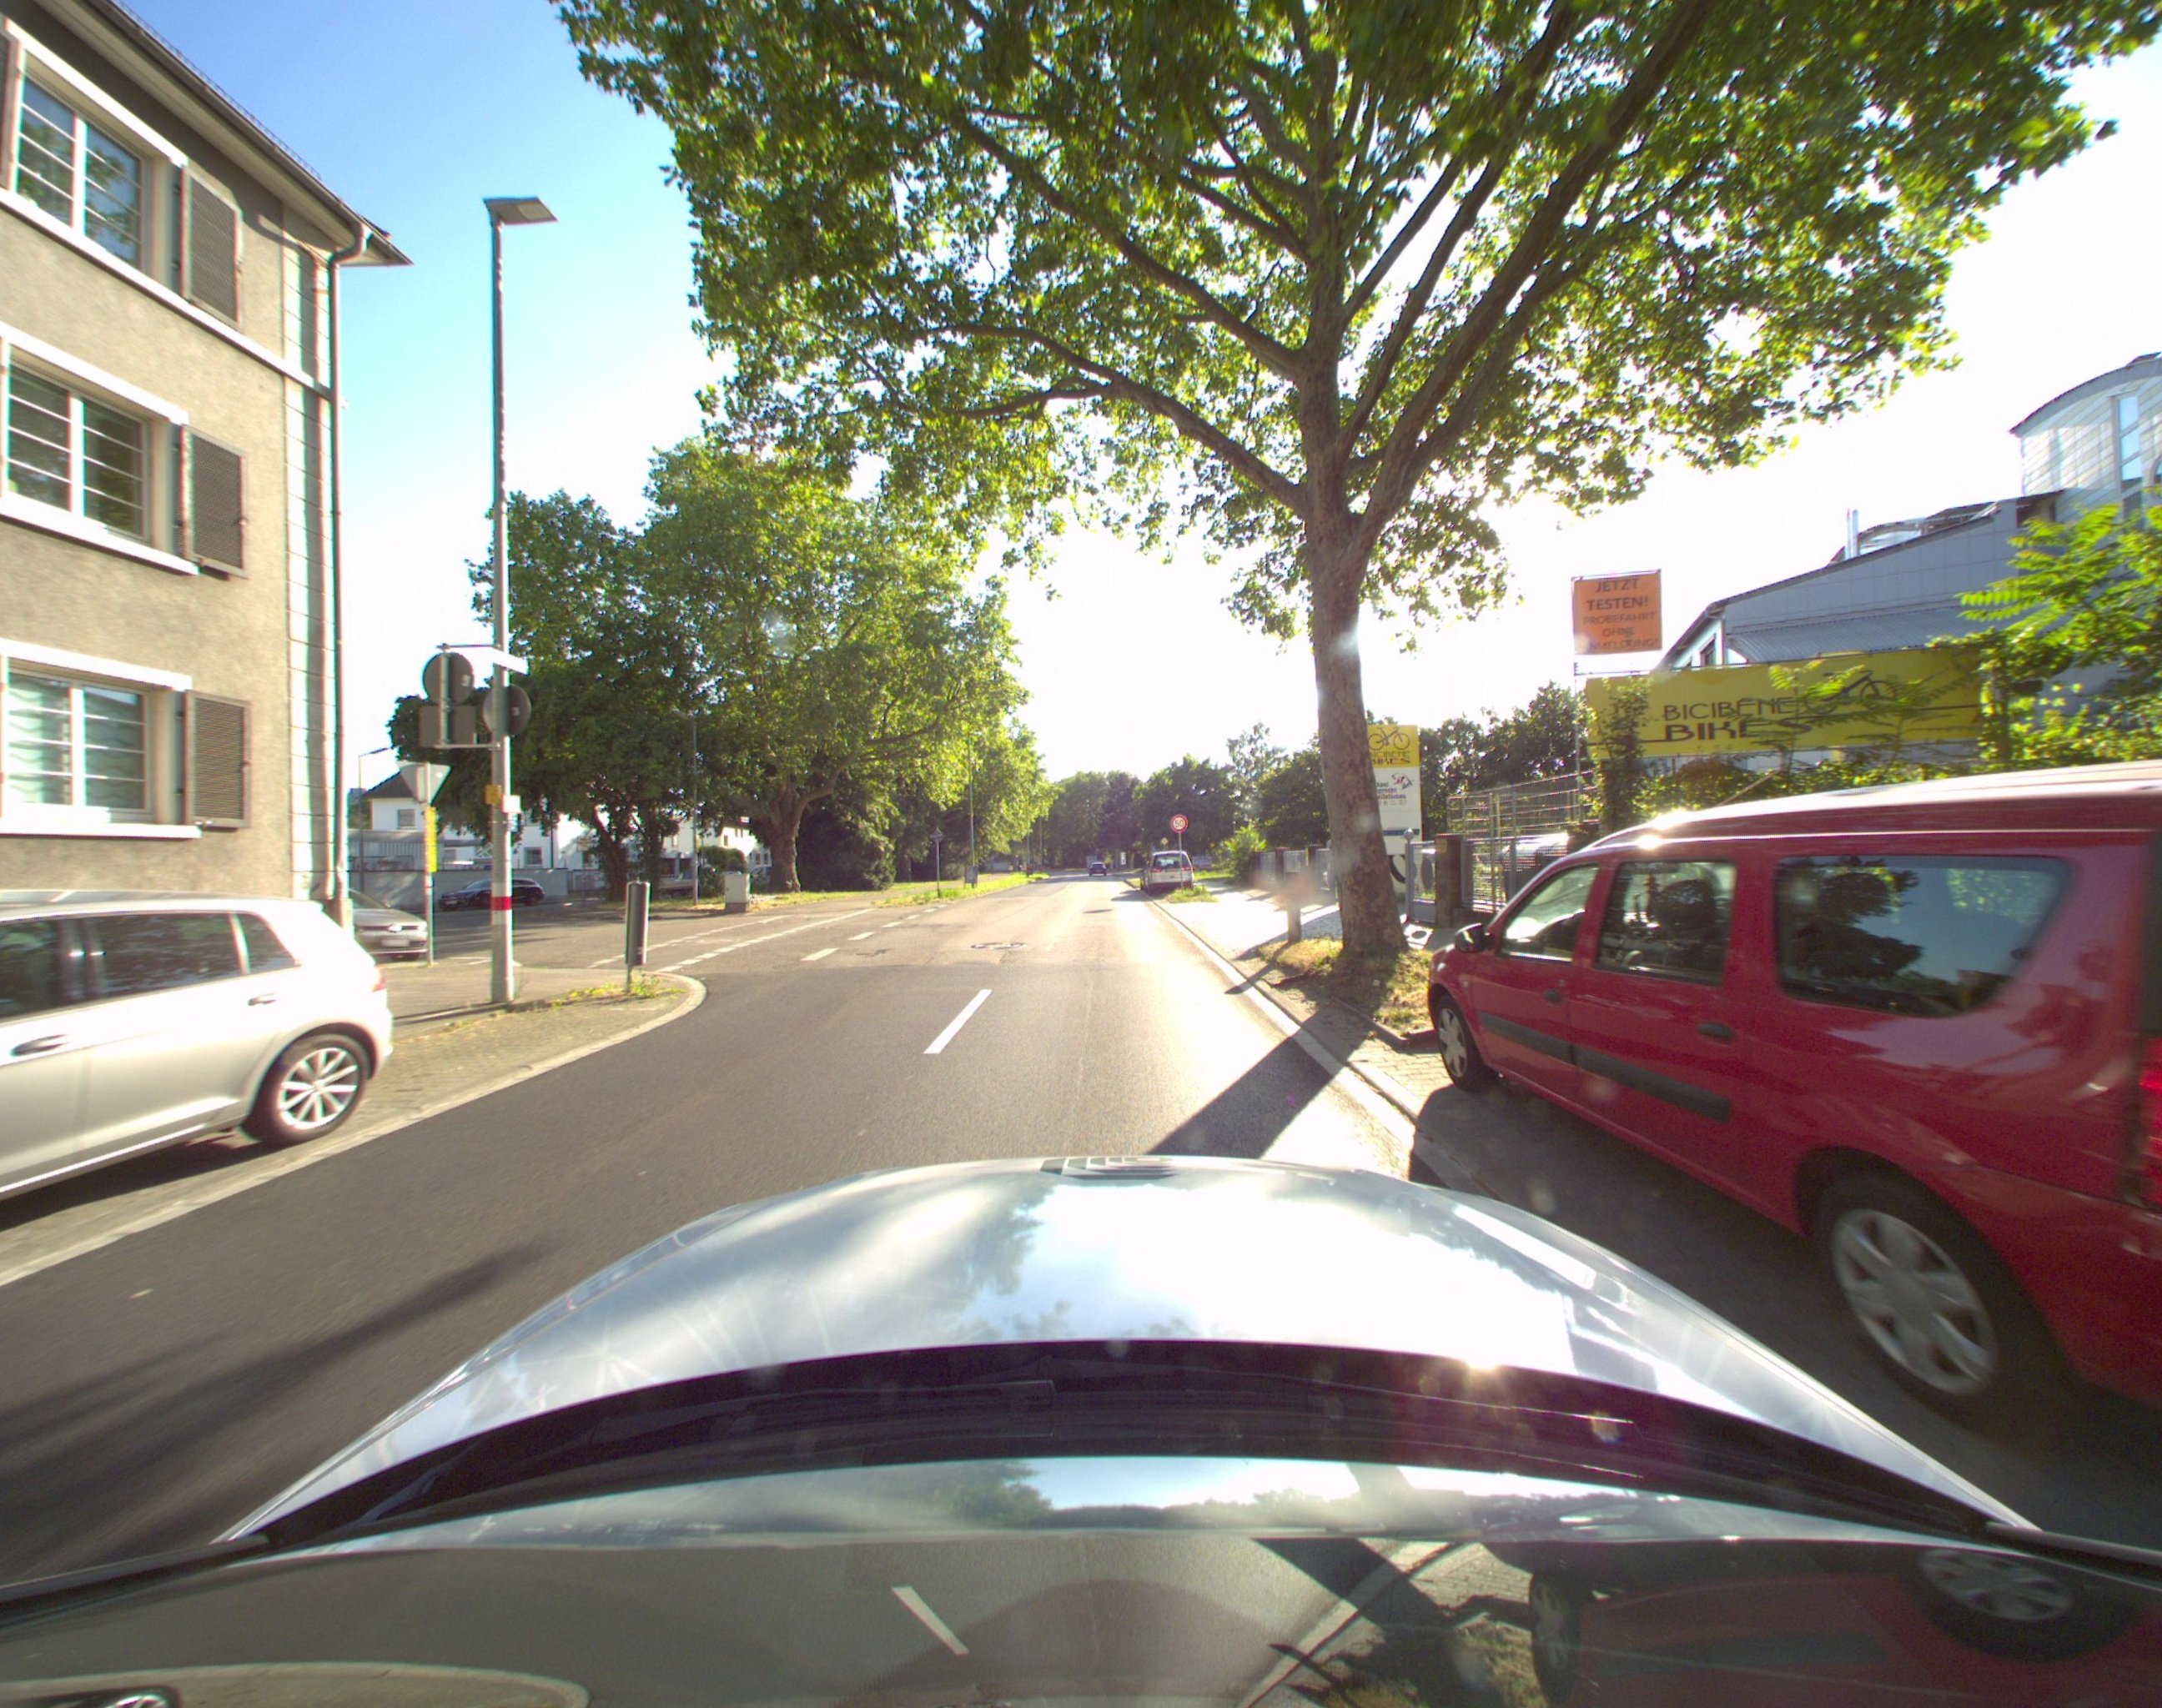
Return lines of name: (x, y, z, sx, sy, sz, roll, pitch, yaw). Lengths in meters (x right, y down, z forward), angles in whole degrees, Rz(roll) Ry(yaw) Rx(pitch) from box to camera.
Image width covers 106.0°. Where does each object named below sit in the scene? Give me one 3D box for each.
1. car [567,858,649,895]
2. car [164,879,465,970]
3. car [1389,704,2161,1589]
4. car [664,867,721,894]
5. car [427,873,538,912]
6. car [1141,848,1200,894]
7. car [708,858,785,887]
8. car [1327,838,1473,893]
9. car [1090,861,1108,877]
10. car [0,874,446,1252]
car: (-31.975, 1.506, 55.176, 4.300, 2.289, 2.000, -2, -1, 1)
car: (-13.307, 1.189, 14.240, 3.959, 1.418, 1.921, -2, -2, 13)
car: (2.931, 0.541, 3.626, 1.592, 1.689, 4.339, -2, 0, 3)
car: (-27.459, 1.851, 57.688, 1.887, 1.741, 4.175, -3, -1, 0)
car: (-27.347, 1.723, 37.415, 1.852, 1.561, 4.359, -1, 0, 1)
car: (3.680, 0.676, 34.263, 1.986, 1.759, 4.918, -2, 0, 1)
car: (-20.587, 1.129, 50.154, 3.974, 1.684, 1.727, -1, -1, 0)
car: (10.214, 0.369, 26.314, 3.971, 1.559, 1.843, -2, 0, 2)
car: (1.953, 1.599, 87.547, 1.833, 1.605, 3.864, -2, 0, 1)
car: (-5.271, 0.876, 3.477, 1.754, 1.483, 4.110, 0, 0, 2)
